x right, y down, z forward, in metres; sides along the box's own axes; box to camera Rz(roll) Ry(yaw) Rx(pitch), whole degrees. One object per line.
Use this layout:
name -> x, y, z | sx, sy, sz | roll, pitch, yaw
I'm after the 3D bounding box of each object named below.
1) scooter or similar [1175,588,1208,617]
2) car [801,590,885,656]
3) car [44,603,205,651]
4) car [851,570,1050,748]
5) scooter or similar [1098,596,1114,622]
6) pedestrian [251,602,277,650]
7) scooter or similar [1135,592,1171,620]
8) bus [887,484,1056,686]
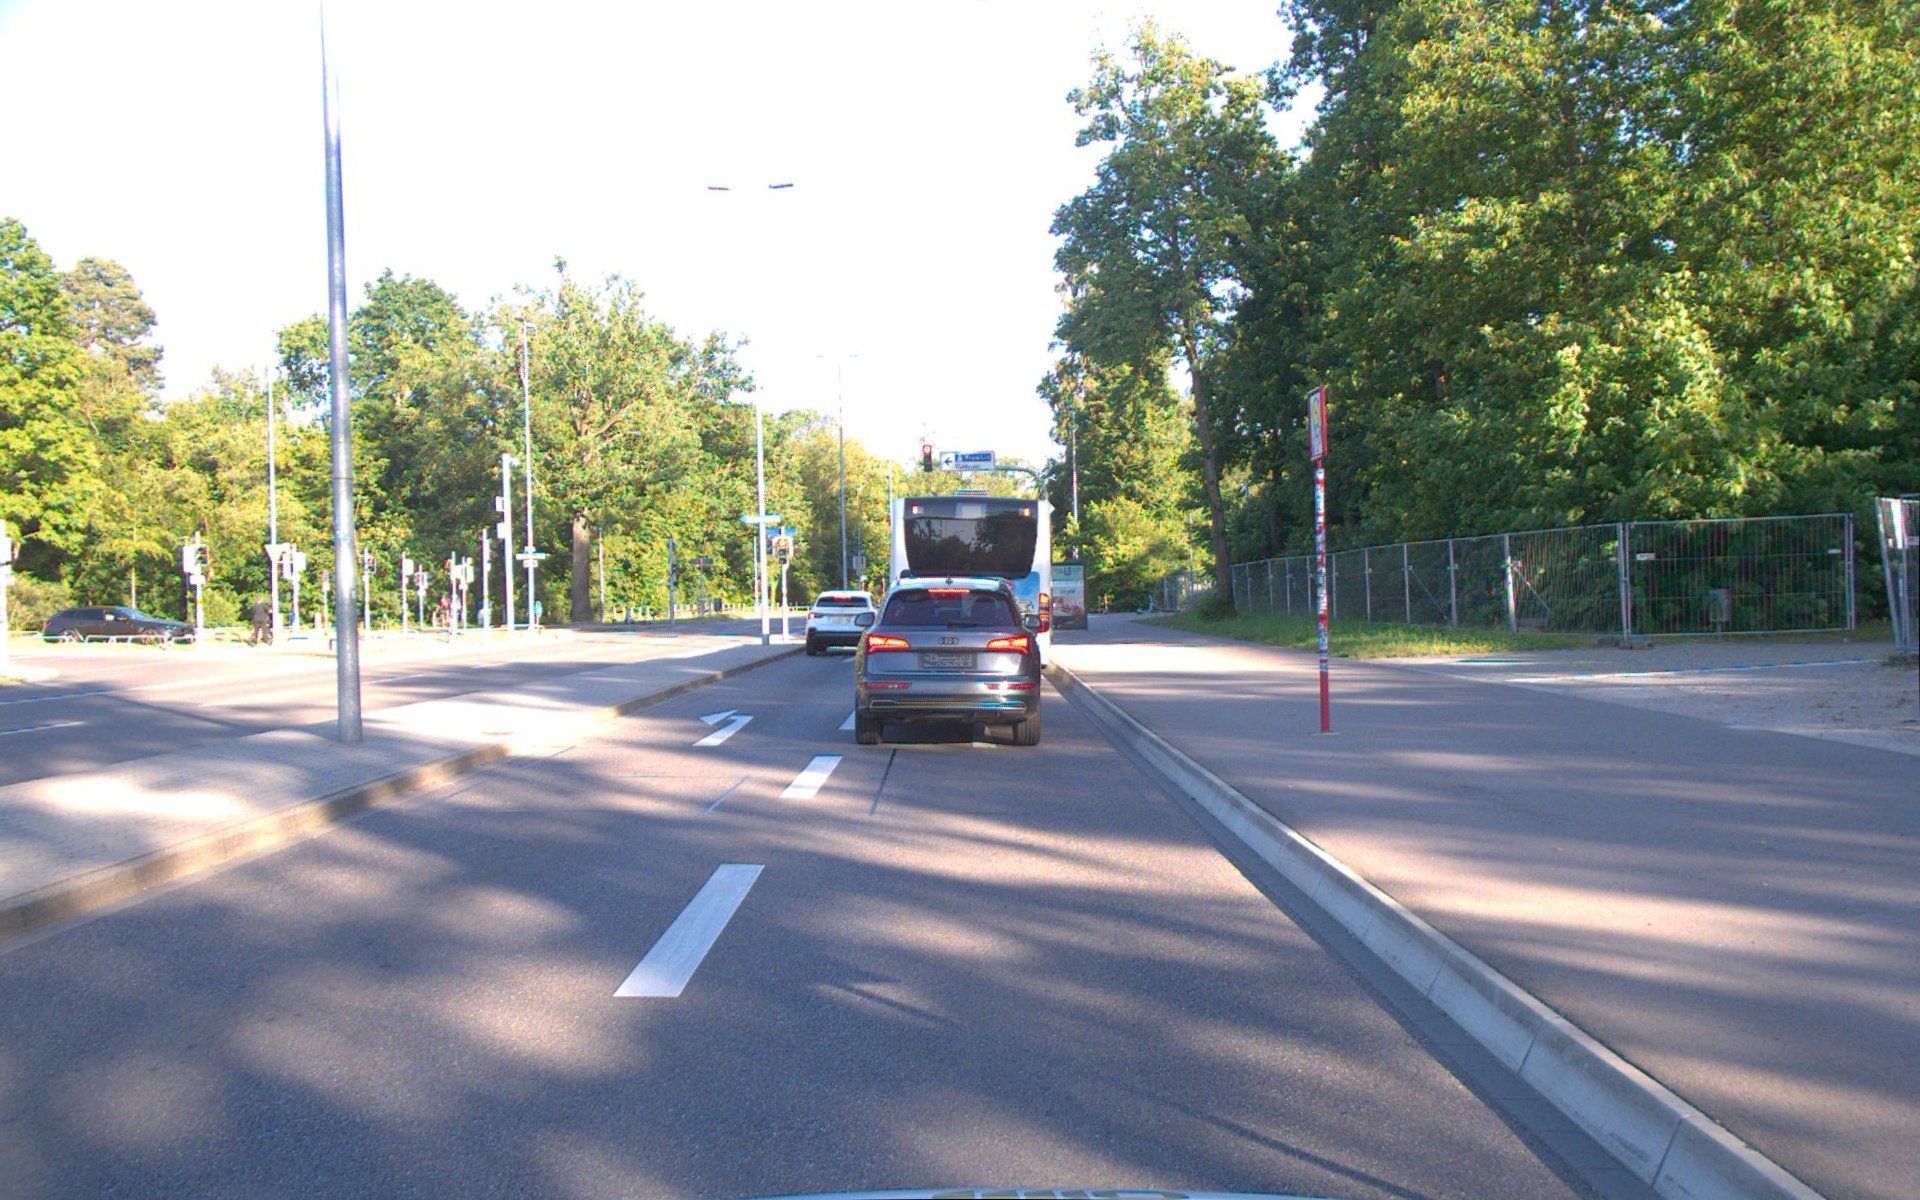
scooter or similar -> 13.046, 0.135, 93.250 | 0.535, 1.594, 1.994 | -2, 0, -39
car -> -2.872, 0.531, 41.305 | 1.799, 1.545, 4.000 | -1, 0, 0
car -> -29.966, 0.954, 59.422 | 4.677, 1.524, 1.999 | -2, 0, -2
car -> -0.085, 0.549, 17.545 | 1.860, 1.660, 4.000 | 0, 0, 0
scooter or similar -> 8.349, 0.509, 94.476 | 0.498, 1.469, 2.020 | -2, 0, -5
pedestrian -> -23.557, 0.870, 56.002 | 0.643, 1.587, 0.531 | -2, 0, -42
scooter or similar -> 10.732, 0.318, 91.962 | 1.990, 1.469, 0.601 | -2, 0, -25
bus -> 0.177, -0.197, 29.567 | 2.541, 3.041, 9.326 | 0, 0, 0
